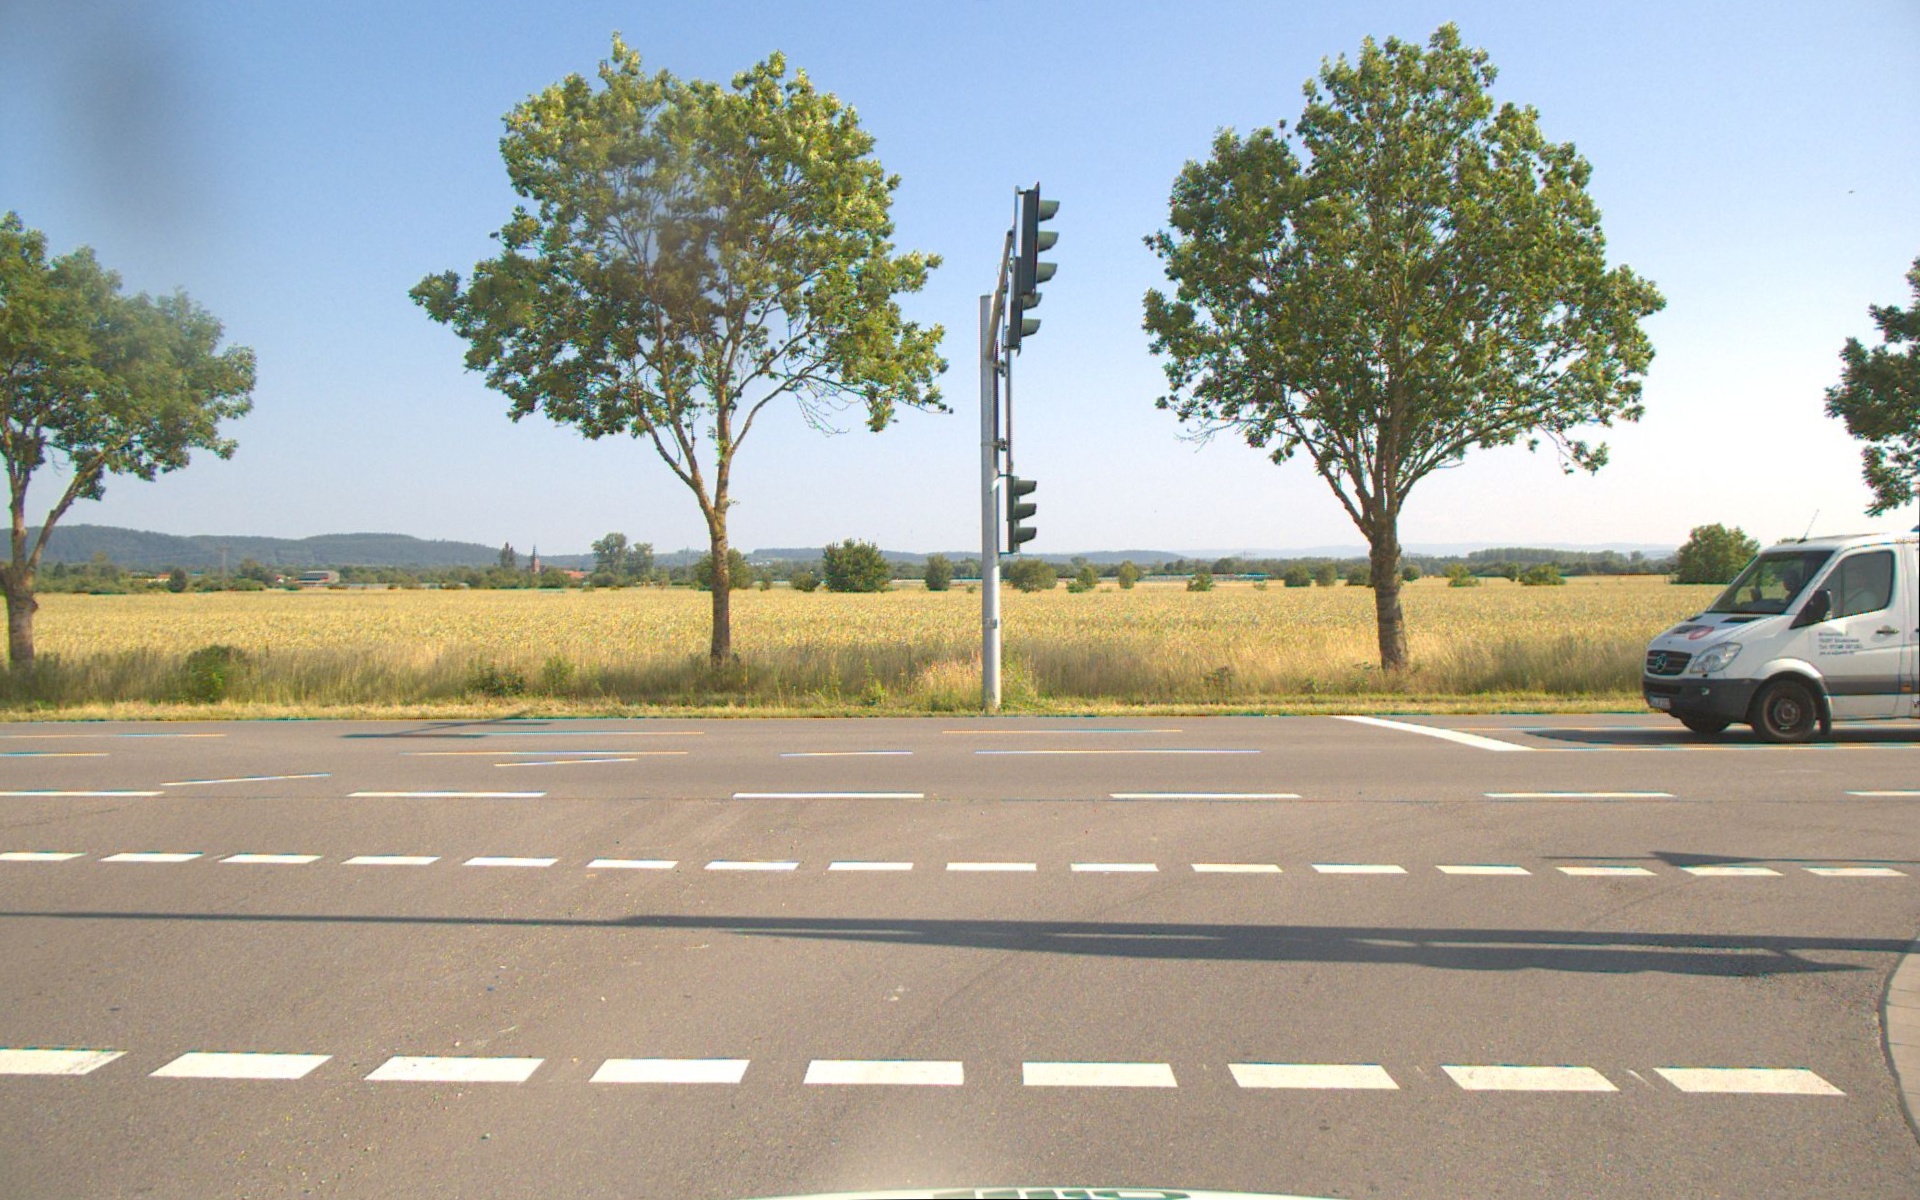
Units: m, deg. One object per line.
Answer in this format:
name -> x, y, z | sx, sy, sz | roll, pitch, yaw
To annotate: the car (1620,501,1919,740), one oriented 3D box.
car -> 10.863, 0.202, 18.916 | 5.838, 2.536, 1.999 | -1, -1, -3
